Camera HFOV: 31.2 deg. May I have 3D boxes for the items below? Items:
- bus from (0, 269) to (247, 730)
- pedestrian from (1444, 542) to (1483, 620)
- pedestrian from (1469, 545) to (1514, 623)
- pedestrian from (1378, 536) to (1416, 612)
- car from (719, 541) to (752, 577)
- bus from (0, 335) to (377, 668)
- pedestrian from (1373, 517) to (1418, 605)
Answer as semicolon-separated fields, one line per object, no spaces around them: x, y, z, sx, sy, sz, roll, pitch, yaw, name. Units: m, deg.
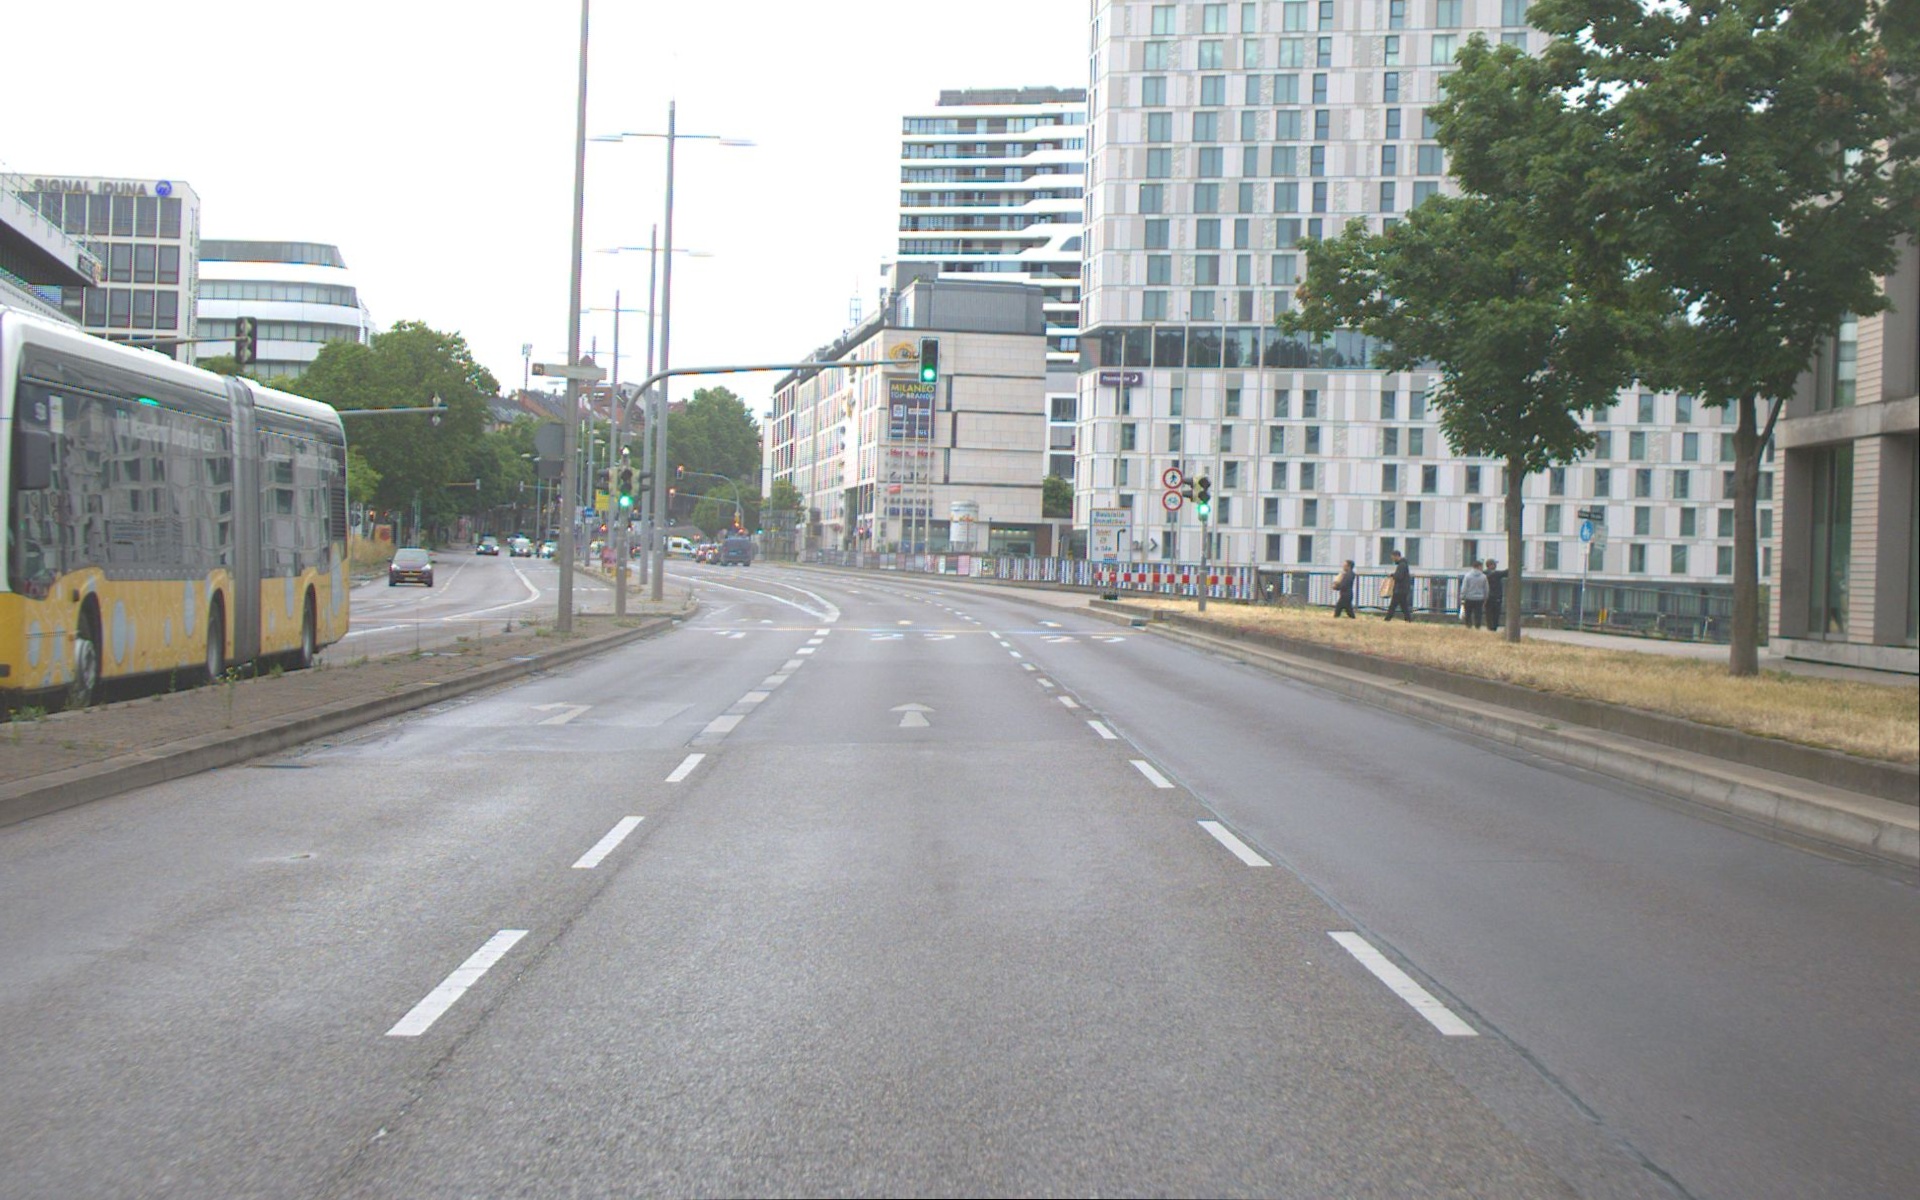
-8.789;-0.840;31.439;2.698;3.547;10.094;0;1;-1;bus
10.388;-0.398;70.870;0.550;1.572;0.669;2;3;33;pedestrian
11.008;-0.331;71.220;0.670;1.572;0.667;2;3;37;pedestrian
9.227;-0.559;72.521;0.550;1.572;0.669;2;3;33;pedestrian
-15.964;-2.956;244.877;1.993;2.335;4.000;-6;1;-2;car
-9.151;-1.172;41.706;2.698;3.547;10.095;0;1;-1;bus
9.209;-0.825;72.683;0.781;1.835;0.551;-2;3;-44;pedestrian
